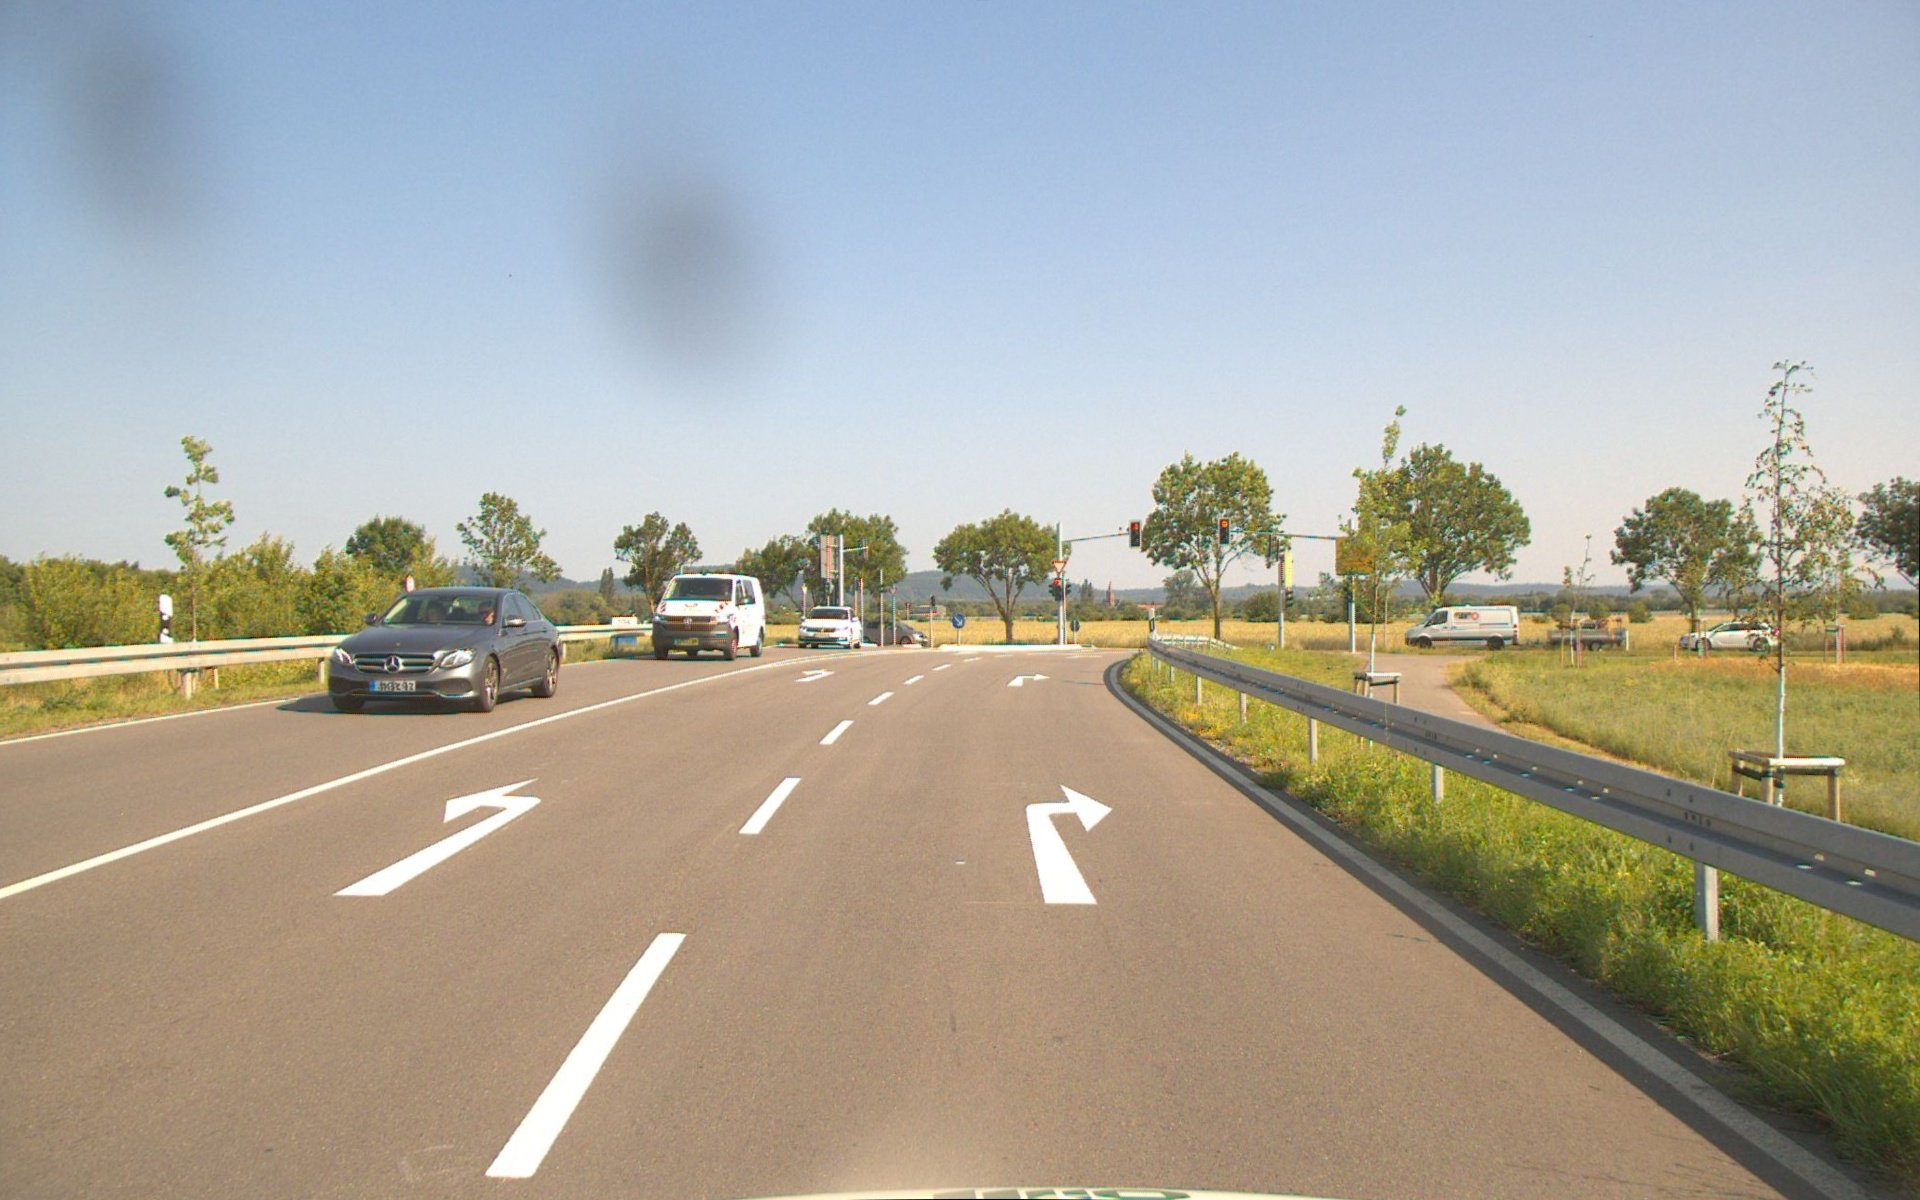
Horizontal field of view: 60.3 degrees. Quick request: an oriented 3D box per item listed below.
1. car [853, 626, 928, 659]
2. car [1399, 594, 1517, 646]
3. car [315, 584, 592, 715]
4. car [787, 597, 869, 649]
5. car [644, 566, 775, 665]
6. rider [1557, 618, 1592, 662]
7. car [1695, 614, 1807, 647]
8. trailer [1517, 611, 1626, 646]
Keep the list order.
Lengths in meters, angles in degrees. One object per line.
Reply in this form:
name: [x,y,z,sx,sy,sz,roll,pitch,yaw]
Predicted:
car: [-3.924,2.407,93.632,3.871,1.697,1.765,1,-2,16]
car: [26.235,1.056,87.242,5.832,2.536,2.001,1,-2,17]
car: [-6.247,0.554,21.034,1.757,1.474,4.708,0,0,4]
car: [-4.552,0.766,57.901,2.070,1.519,5.156,2,2,4]
car: [-5.849,0.293,39.301,2.071,2.048,5.156,2,2,2]
rider: [24.083,1.561,64.830,0.810,1.671,0.981,-1,0,-30]
car: [39.858,1.539,83.468,4.765,1.536,2.001,1,-1,14]
trailer: [31.580,1.480,85.582,5.150,1.784,1.954,0,-2,17]
